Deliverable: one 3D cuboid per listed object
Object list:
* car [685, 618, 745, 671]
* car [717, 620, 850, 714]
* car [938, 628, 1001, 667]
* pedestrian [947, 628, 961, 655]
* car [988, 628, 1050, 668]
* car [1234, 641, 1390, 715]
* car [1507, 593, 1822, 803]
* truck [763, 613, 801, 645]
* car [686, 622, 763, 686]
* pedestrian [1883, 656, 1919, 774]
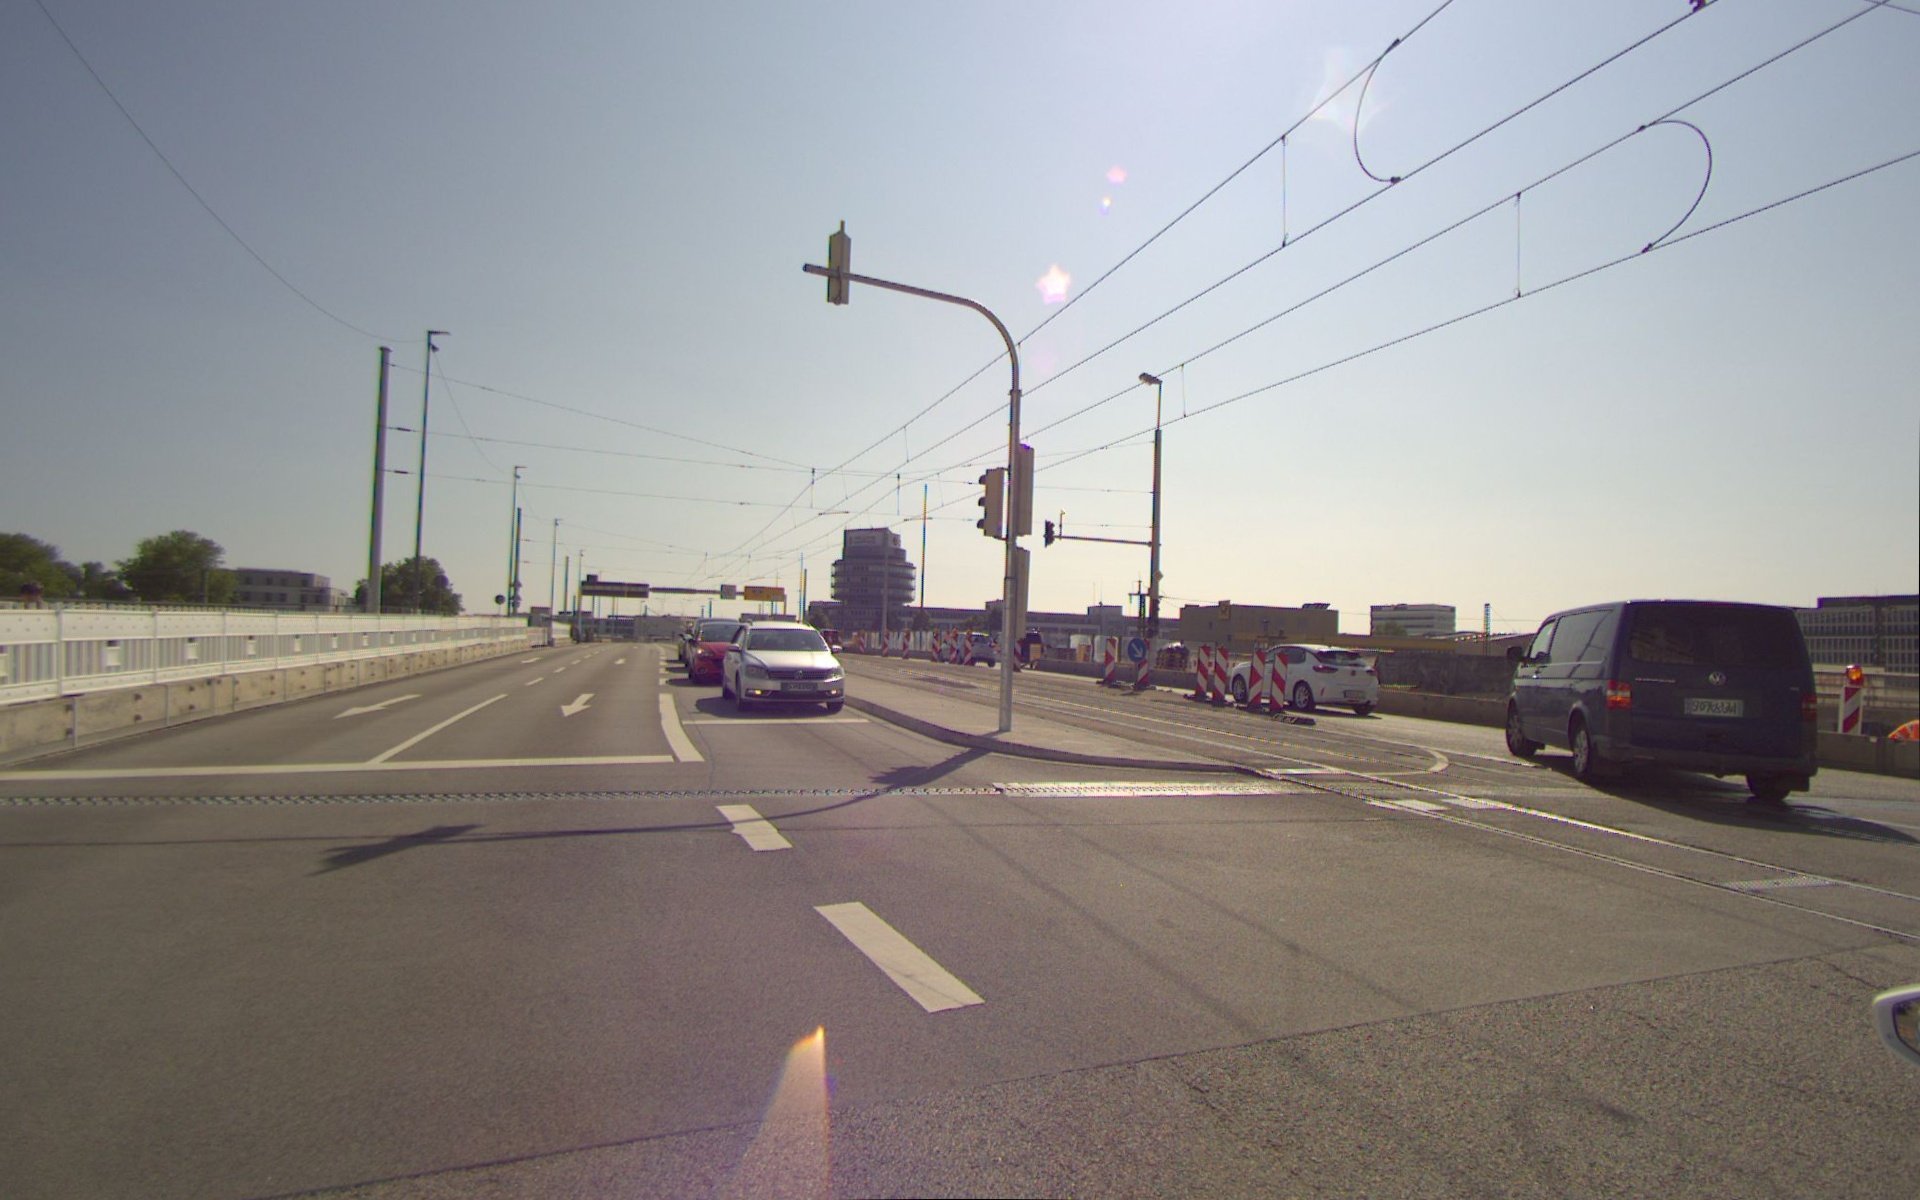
[{"bbox_3d":[-8.015,1.402,32.567,1.648,1.570,4.540,2,-2,-16],"label":"car"},{"bbox_3d":[-3.288,1.113,18.019,1.618,1.456,4.623,1,-2,-19],"label":"car"},{"bbox_3d":[0.383,2.115,45.231,1.696,1.552,3.683,4,-2,-18],"label":"car"},{"bbox_3d":[-0.454,3.068,73.775,0.772,1.960,0.796,1,-3,-18],"label":"pedestrian"},{"bbox_3d":[3.239,2.672,56.404,1.855,2.059,4.874,4,-3,-17],"label":"car"},{"bbox_3d":[7.832,1.715,22.664,1.694,1.423,3.402,4,-2,-15],"label":"car"},{"bbox_3d":[7.742,0.973,11.524,1.785,1.931,4.056,1,-2,17],"label":"car"},{"bbox_3d":[-19.339,3.086,108.602,2.430,3.176,11.172,3,-2,-18],"label":"truck"},{"bbox_3d":[-5.951,1.304,25.129,1.514,1.456,3.964,2,-2,-18],"label":"car"},{"bbox_3d":[15.242,1.818,15.951,0.852,1.818,0.817,0,-2,43],"label":"pedestrian"}]
